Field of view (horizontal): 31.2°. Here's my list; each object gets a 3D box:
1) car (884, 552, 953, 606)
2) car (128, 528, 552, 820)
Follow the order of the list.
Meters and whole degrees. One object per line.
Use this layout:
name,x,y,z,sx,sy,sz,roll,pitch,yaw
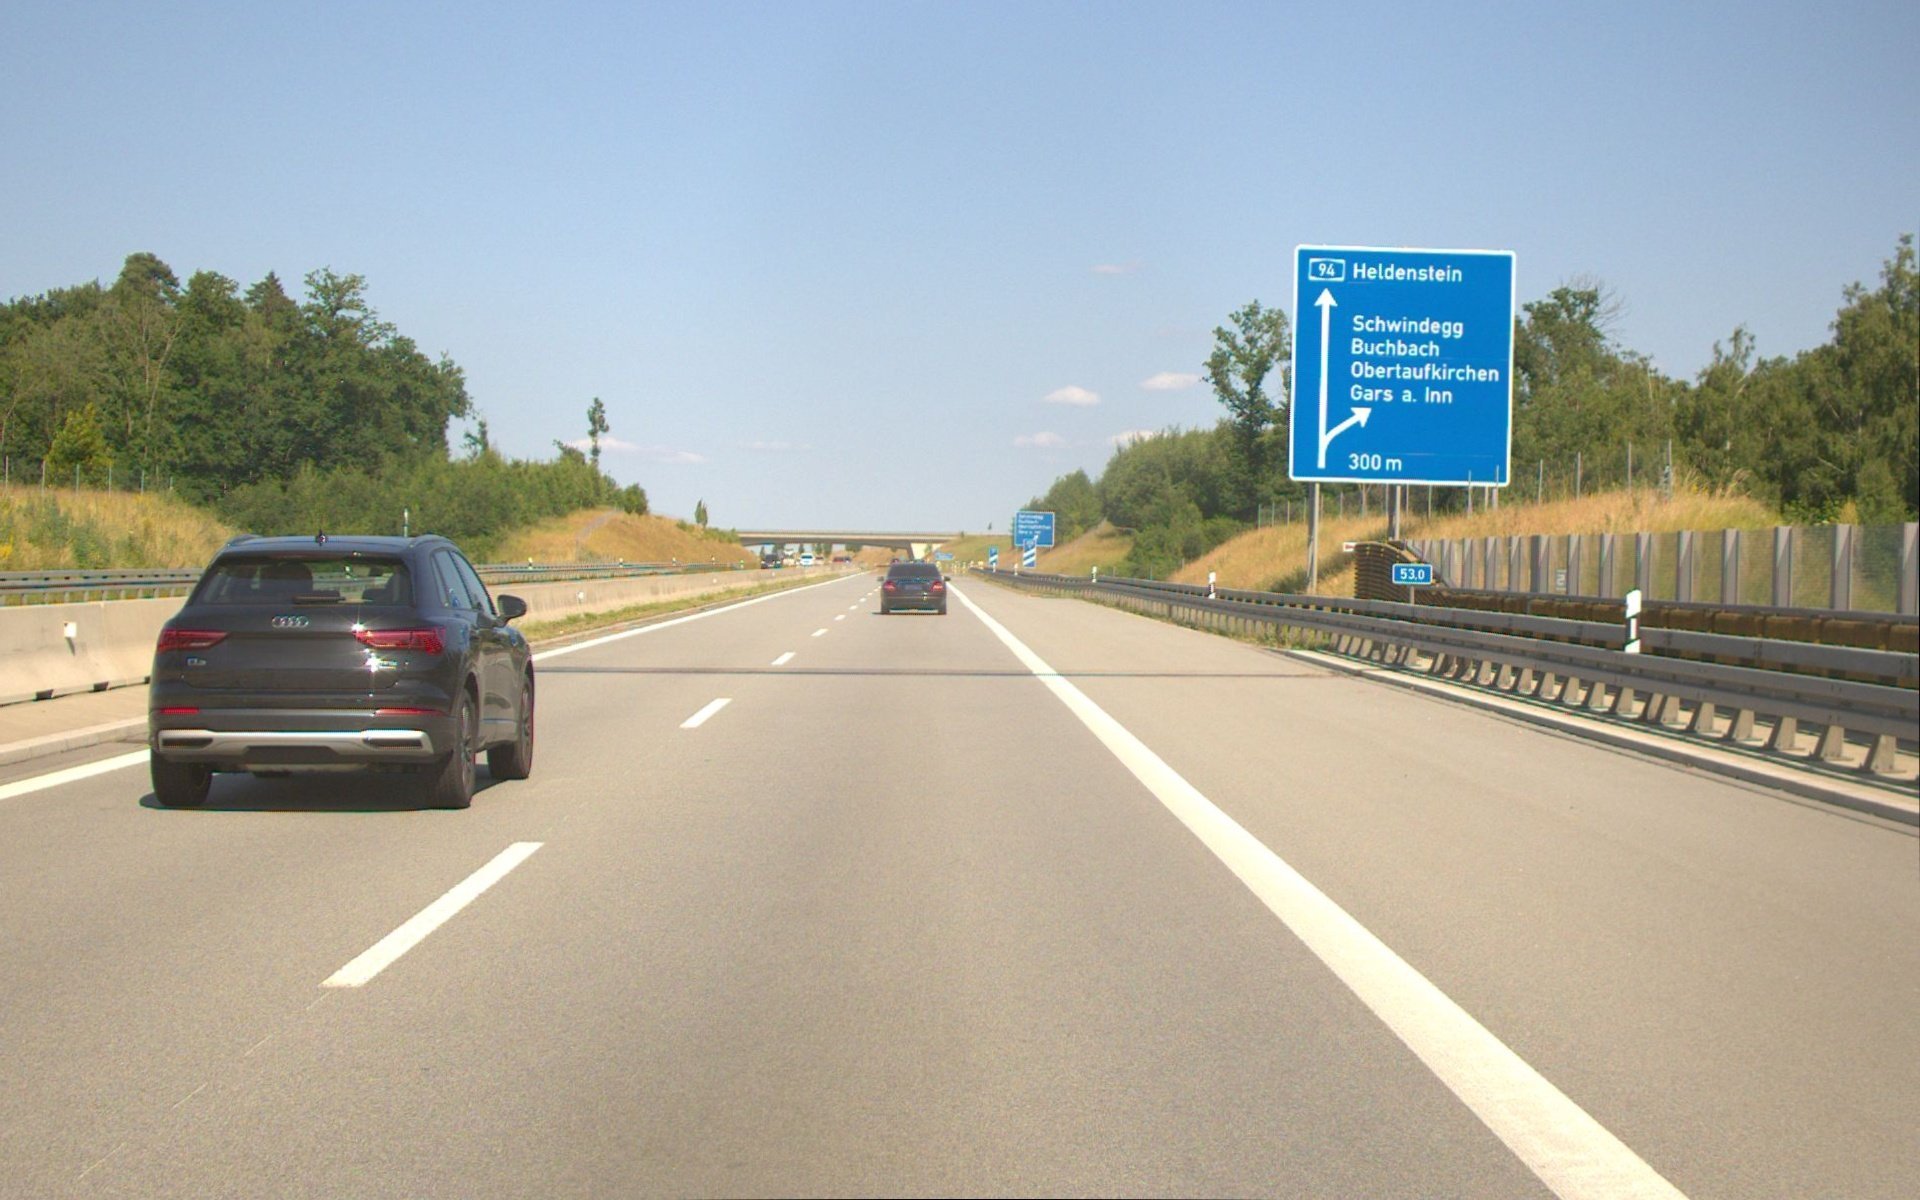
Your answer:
car,-1.103,-0.576,92.593,1.790,1.369,3.917,1,1,0
car,-3.726,0.368,21.548,1.722,1.582,5.222,1,1,0
